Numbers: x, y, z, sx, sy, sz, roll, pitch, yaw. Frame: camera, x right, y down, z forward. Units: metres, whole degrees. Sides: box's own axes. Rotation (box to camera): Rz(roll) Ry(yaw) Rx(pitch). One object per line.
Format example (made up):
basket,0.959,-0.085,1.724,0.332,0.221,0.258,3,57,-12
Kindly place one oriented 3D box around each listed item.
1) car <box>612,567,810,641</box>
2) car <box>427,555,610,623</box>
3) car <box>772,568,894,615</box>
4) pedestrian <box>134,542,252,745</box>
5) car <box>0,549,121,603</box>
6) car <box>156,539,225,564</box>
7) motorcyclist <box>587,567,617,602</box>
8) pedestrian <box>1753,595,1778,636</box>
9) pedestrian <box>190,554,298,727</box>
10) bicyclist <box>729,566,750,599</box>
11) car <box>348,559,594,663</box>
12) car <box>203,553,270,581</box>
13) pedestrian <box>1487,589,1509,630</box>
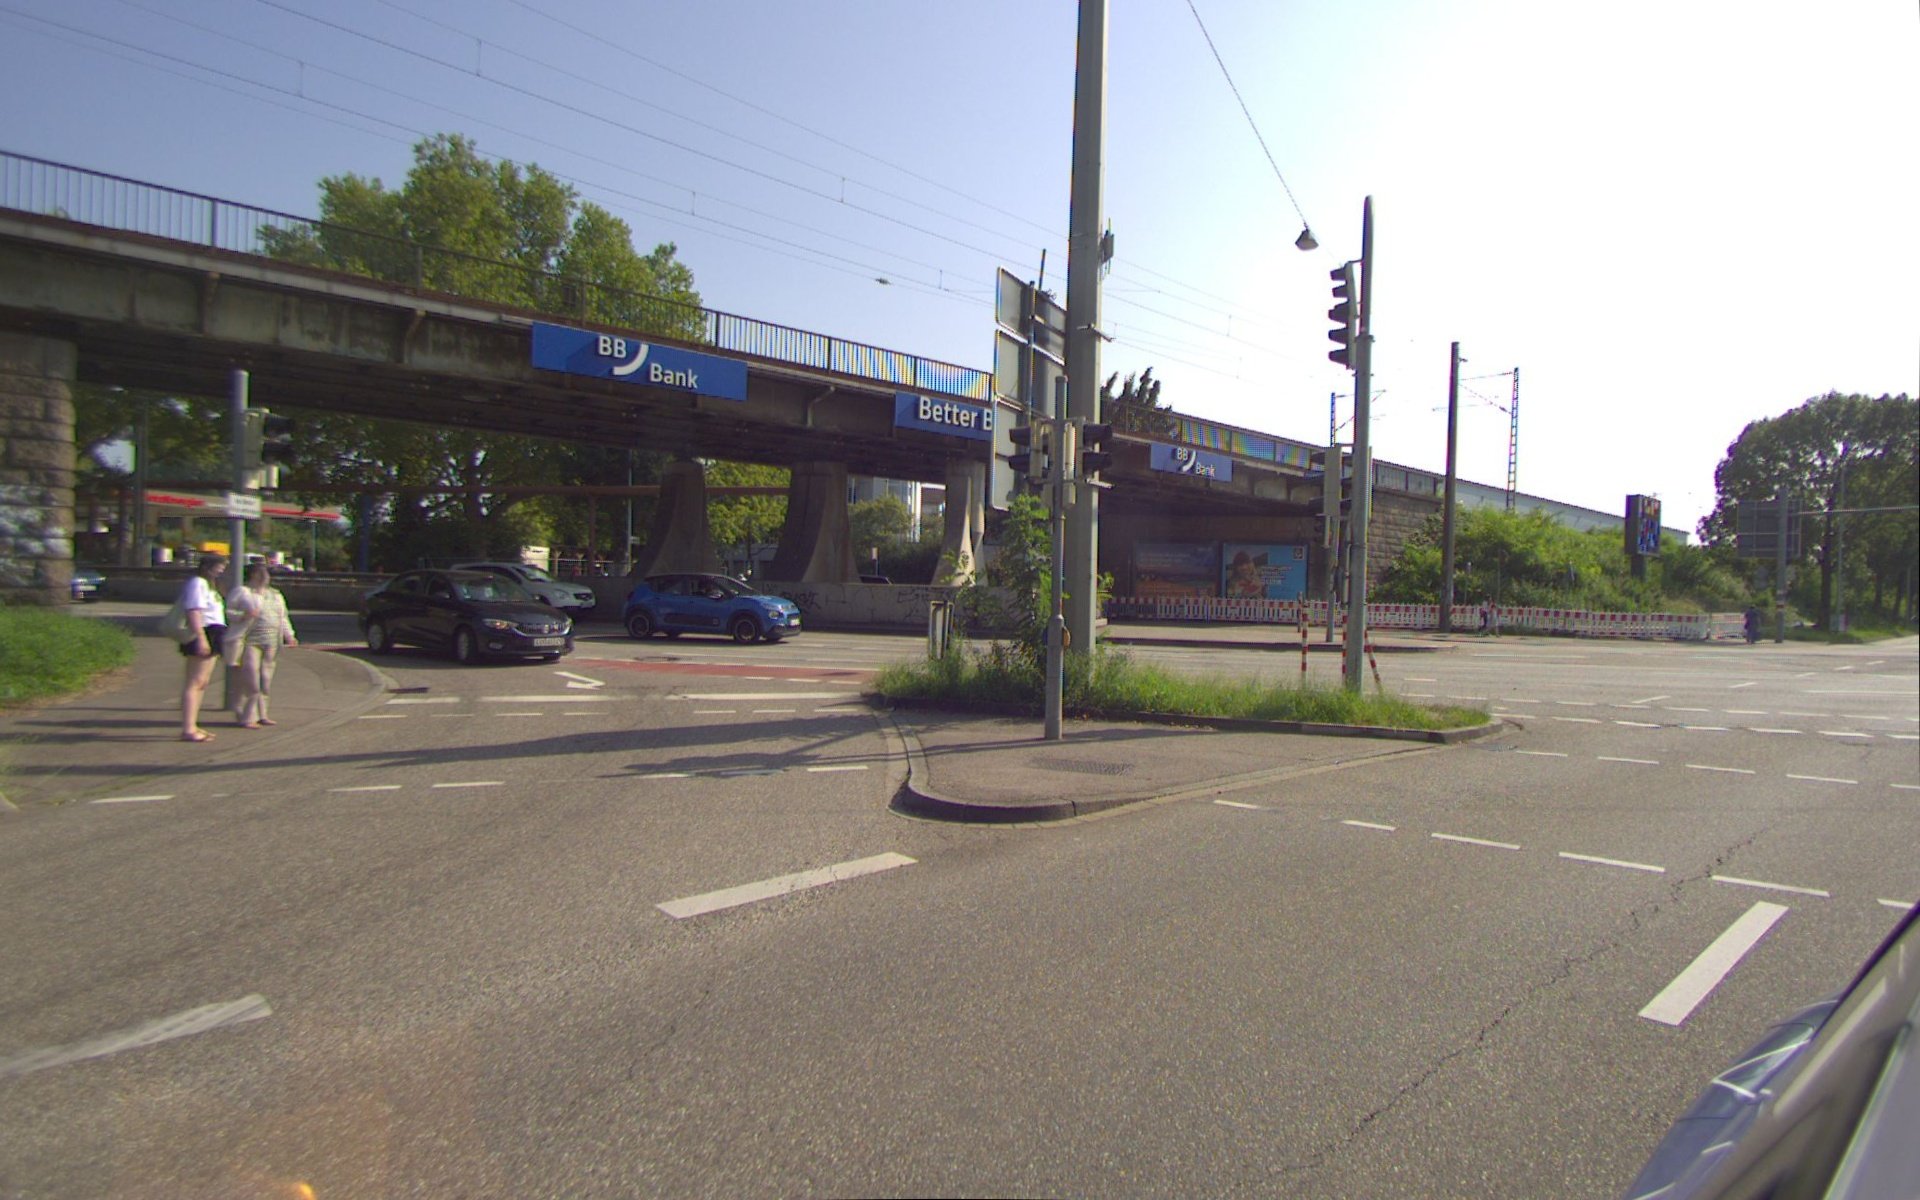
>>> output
car,-5.465,0.063,22.335,3.938,1.470,1.612,2,1,12
car,-11.732,-0.314,26.984,4.157,1.638,2.001,1,1,16
car,-4.690,-0.303,37.649,4.130,1.608,1.775,1,-2,12
pedestrian,-6.765,0.364,8.945,0.483,1.702,0.571,5,1,0
car,-27.942,-0.749,30.808,3.944,1.529,1.792,2,2,16
car,-65.544,-4.104,86.185,5.035,2.039,1.992,1,1,14
motorcyclist,-15.164,-0.652,42.928,0.927,1.449,0.740,2,1,14
pedestrian,32.491,0.625,40.828,0.747,1.593,0.649,0,3,-43
pedestrian,-6.969,0.383,9.865,0.566,1.586,0.532,6,0,24
bicyclist,-9.664,-0.769,44.428,0.800,1.443,0.442,1,2,11
car,-8.385,0.113,17.270,4.161,1.552,1.850,2,1,32
car,-54.768,-2.521,76.652,3.941,2.039,2.121,1,1,14
pedestrian,20.924,0.367,39.386,0.625,1.594,0.488,1,0,12
